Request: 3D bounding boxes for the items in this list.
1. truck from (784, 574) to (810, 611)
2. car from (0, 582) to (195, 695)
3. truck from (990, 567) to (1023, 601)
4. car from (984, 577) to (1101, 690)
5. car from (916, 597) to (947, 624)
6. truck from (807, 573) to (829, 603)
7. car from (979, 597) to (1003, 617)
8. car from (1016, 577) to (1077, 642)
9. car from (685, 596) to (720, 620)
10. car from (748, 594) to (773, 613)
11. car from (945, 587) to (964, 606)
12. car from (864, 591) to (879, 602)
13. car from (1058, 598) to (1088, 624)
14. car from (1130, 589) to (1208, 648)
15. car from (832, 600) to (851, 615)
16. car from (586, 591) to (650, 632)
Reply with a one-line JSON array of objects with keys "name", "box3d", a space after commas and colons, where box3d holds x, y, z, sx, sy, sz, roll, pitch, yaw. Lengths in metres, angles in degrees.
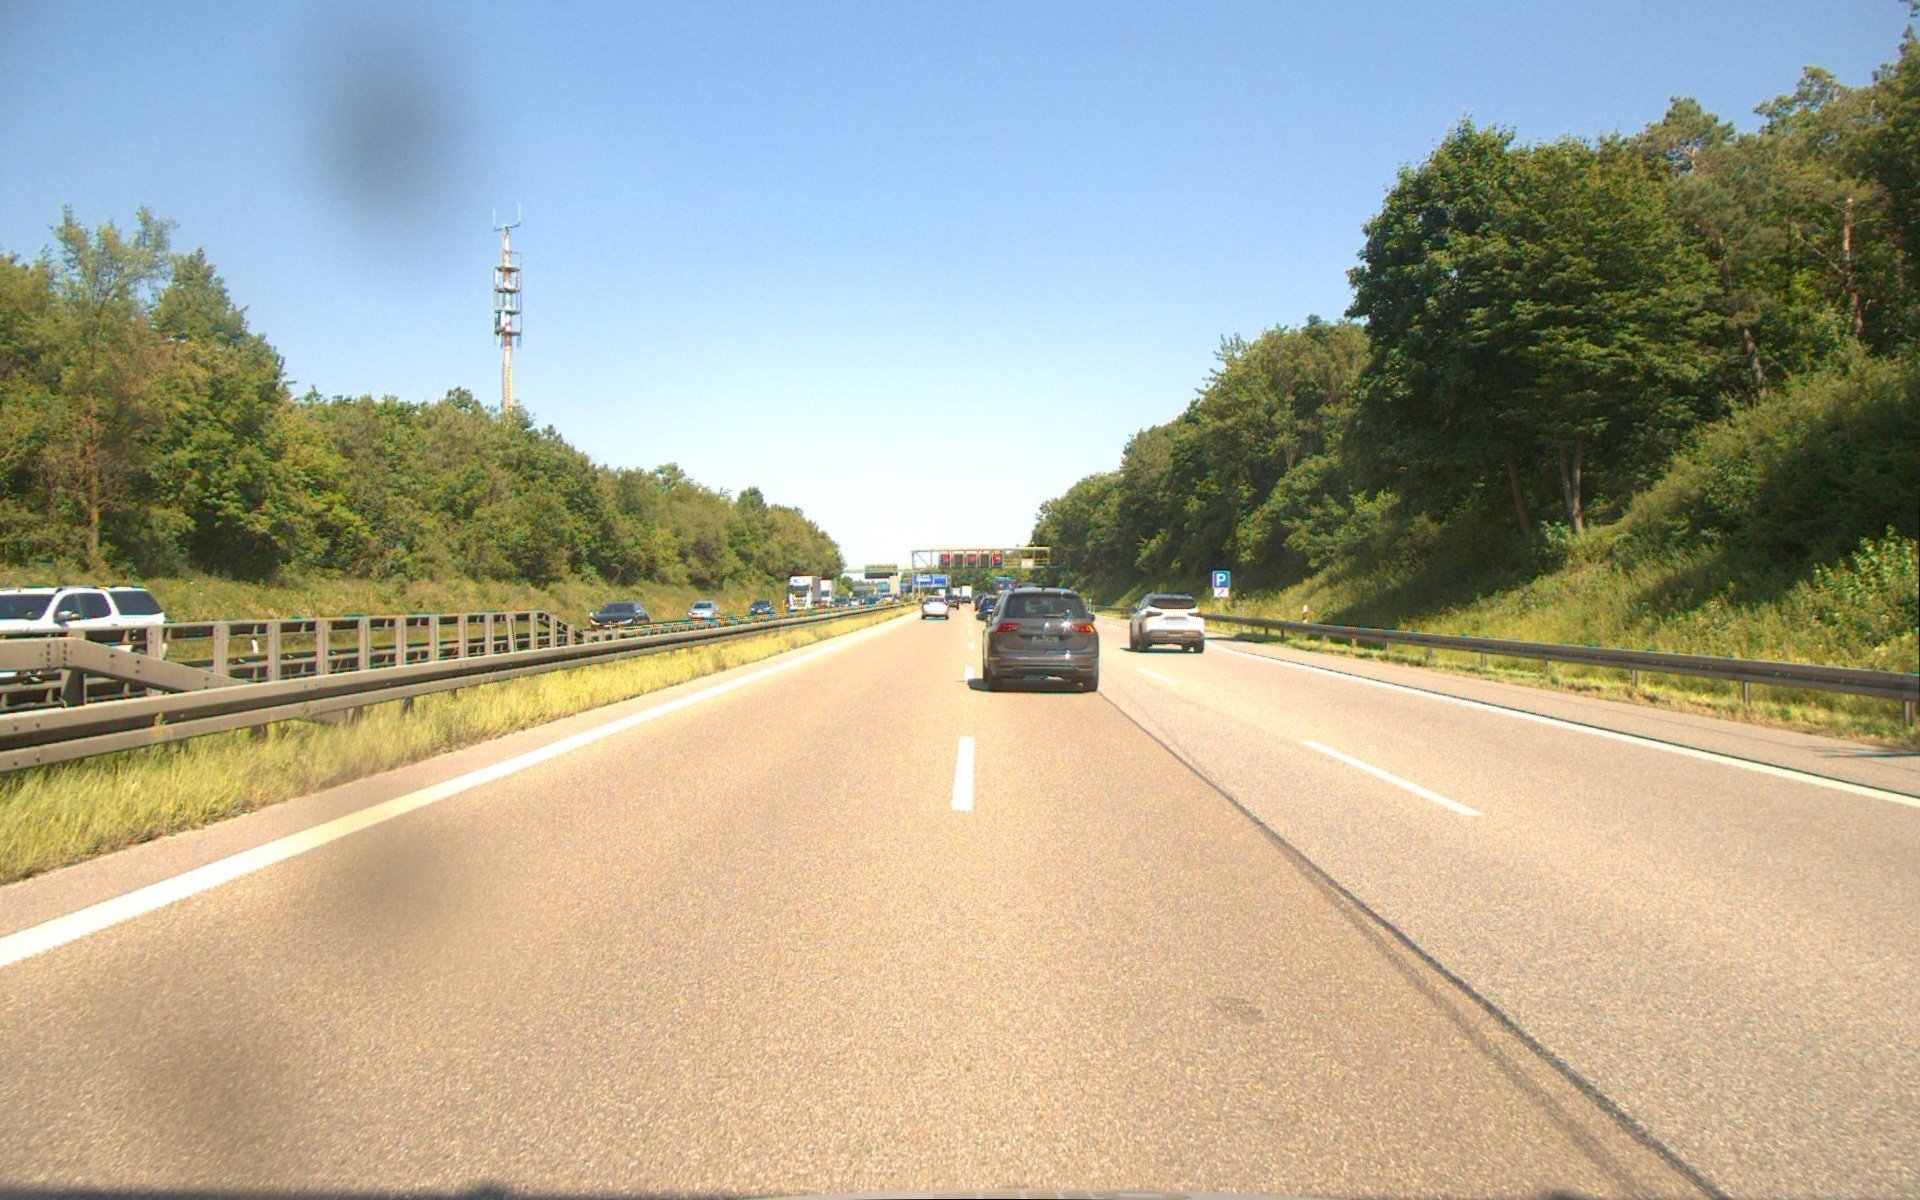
[{"name": "truck", "box3d": [-18.978, -0.912, 192.948, 2.561, 4.129, 4.000, -3, 0, -1]}, {"name": "car", "box3d": [-14.781, 0.590, 27.159, 1.741, 1.662, 5.540, -3, 0, 1]}, {"name": "truck", "box3d": [6.247, -2.121, 223.674, 3.704, 4.499, 14.046, 0, 0, -1]}, {"name": "car", "box3d": [1.319, 0.503, 27.528, 1.762, 1.698, 4.259, 1, 0, 1]}, {"name": "car", "box3d": [-1.768, 0.623, 104.101, 1.728, 1.595, 4.259, 1, 0, 1]}, {"name": "truck", "box3d": [-19.414, -1.648, 226.440, 2.648, 3.876, 4.000, -2, 0, -1]}, {"name": "car", "box3d": [2.300, 0.525, 123.211, 1.728, 1.406, 4.259, 1, 0, 1]}, {"name": "car", "box3d": [2.669, 0.266, 51.841, 1.631, 1.909, 4.827, -1, 0, 0]}, {"name": "car", "box3d": [-18.031, 0.551, 115.875, 1.595, 1.518, 4.941, -3, 0, 0]}, {"name": "car", "box3d": [-17.336, 0.286, 143.772, 1.563, 1.595, 4.368, -3, 0, -1]}, {"name": "car", "box3d": [-0.619, -0.397, 181.478, 1.953, 2.049, 3.999, 0, 0, -1]}, {"name": "car", "box3d": [-11.478, -0.448, 214.548, 1.770, 1.430, 4.818, -1, 0, 0]}, {"name": "car", "box3d": [7.373, 0.719, 108.577, 1.728, 1.595, 4.259, 1, 0, 1]}, {"name": "car", "box3d": [5.960, 0.506, 47.533, 1.805, 1.595, 4.036, 1, 0, 1]}, {"name": "car", "box3d": [-11.222, 0.679, 156.681, 1.455, 1.380, 4.417, -1, 0, 0]}, {"name": "car", "box3d": [-14.597, 0.468, 70.786, 1.720, 1.595, 4.430, -3, 0, 0]}]
